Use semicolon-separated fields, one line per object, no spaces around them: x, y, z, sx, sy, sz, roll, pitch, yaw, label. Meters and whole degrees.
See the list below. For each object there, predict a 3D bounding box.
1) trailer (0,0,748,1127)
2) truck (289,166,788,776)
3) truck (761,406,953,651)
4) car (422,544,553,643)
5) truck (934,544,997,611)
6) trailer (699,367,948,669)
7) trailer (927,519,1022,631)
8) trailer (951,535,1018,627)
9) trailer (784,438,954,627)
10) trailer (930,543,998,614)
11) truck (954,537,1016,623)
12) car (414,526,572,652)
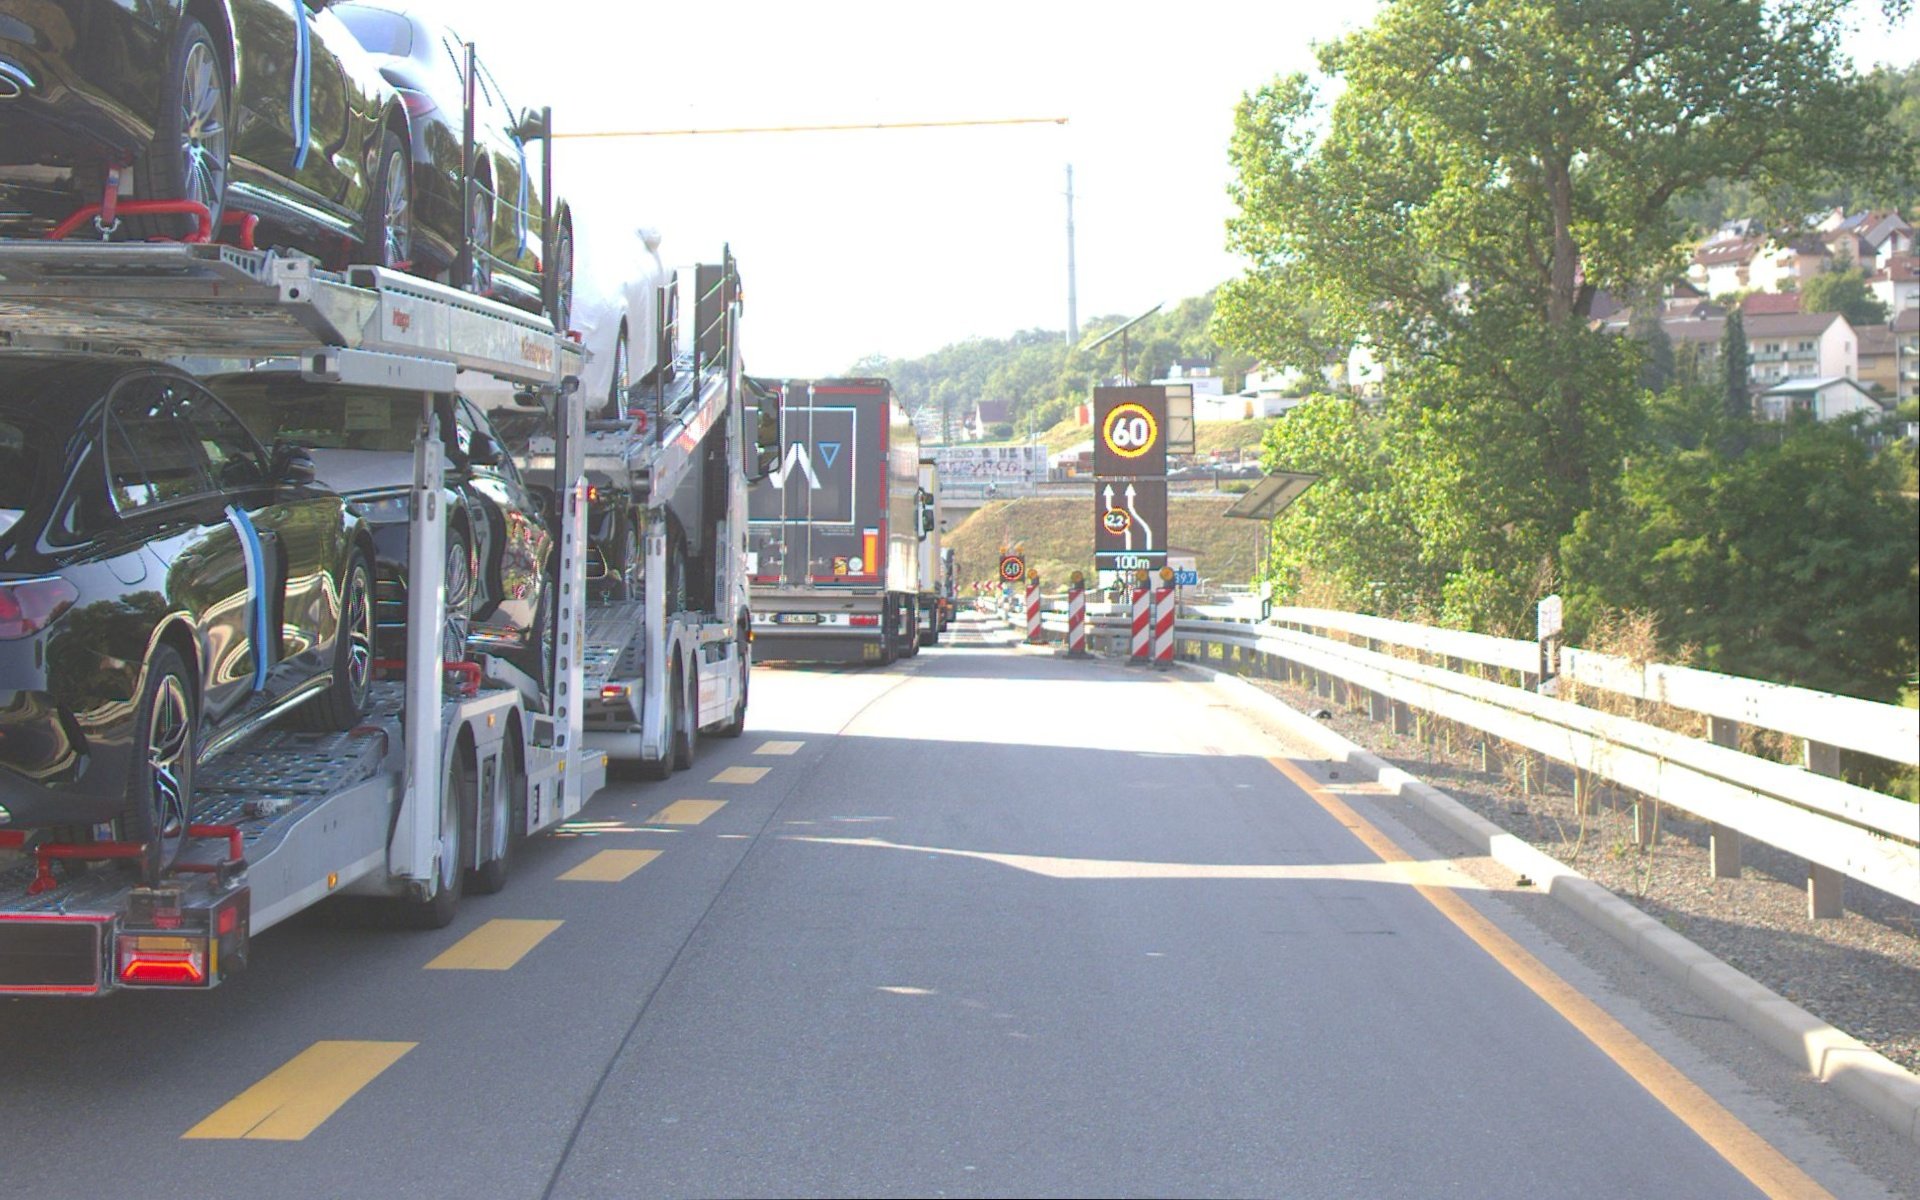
-3.029;-0.767;16.397;2.857;3.983;15.746;-1;1;1;trailer
-2.937;-0.884;25.919;2.848;3.983;6.624;-1;1;1;truck
-1.697;-1.208;59.632;2.885;3.983;6.624;-1;1;2;truck
-8.387;-0.130;61.312;1.830;1.648;4.000;-2;1;-1;car
0.395;-1.493;224.089;4.028;4.271;6.624;-1;1;1;truck
-1.899;-1.185;52.662;2.959;4.078;10.793;-1;1;2;trailer
0.609;-0.994;130.915;3.385;3.983;14.745;-1;1;1;trailer
1.222;-0.993;168.517;3.103;4.299;14.252;-1;1;1;trailer
-1.953;-1.522;80.330;3.385;3.983;14.745;-1;1;1;trailer
0.318;-1.414;217.640;4.097;4.299;14.252;-1;1;1;trailer
1.293;-1.057;175.259;3.098;4.271;6.624;-1;1;1;truck
-6.889;-0.182;51.032;1.830;1.746;4.000;-2;1;-1;car
